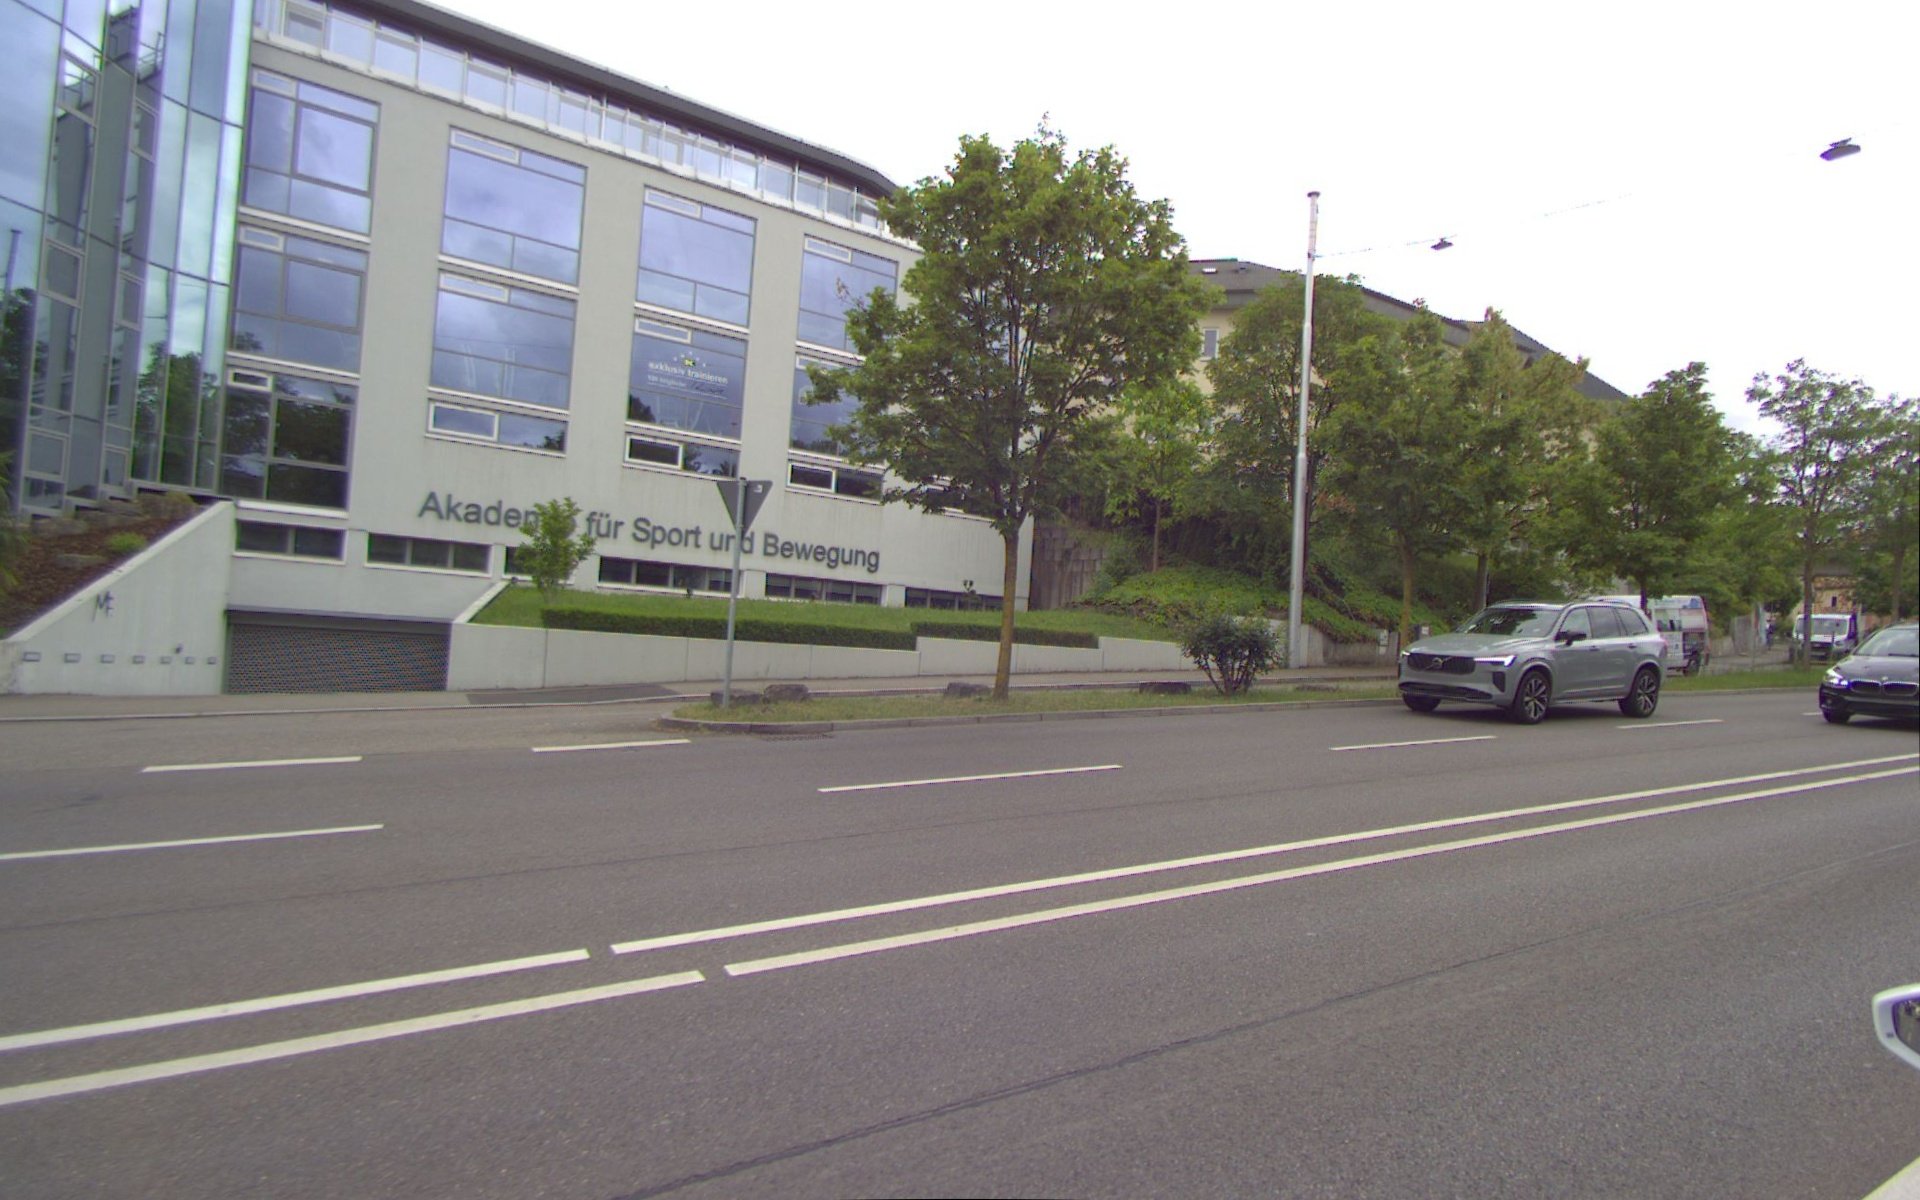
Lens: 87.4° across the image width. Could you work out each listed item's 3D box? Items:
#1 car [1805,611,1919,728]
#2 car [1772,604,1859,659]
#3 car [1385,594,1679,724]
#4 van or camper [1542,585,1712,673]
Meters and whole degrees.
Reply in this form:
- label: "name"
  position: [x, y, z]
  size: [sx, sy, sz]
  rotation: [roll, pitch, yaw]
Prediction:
- label: "car"
  position: [15.224, 1.030, 15.679]
  size: [4.314, 1.614, 1.755]
  rotation: [1, 0, -30]
- label: "car"
  position: [38.038, 1.380, 44.583]
  size: [6.282, 2.303, 2.246]
  rotation: [2, -1, -43]
- label: "car"
  position: [8.864, 0.831, 15.454]
  size: [4.813, 1.731, 1.755]
  rotation: [1, 0, -30]
- label: "van or camper"
  position: [20.491, 0.893, 30.802]
  size: [5.640, 2.505, 1.985]
  rotation: [1, -1, -29]
